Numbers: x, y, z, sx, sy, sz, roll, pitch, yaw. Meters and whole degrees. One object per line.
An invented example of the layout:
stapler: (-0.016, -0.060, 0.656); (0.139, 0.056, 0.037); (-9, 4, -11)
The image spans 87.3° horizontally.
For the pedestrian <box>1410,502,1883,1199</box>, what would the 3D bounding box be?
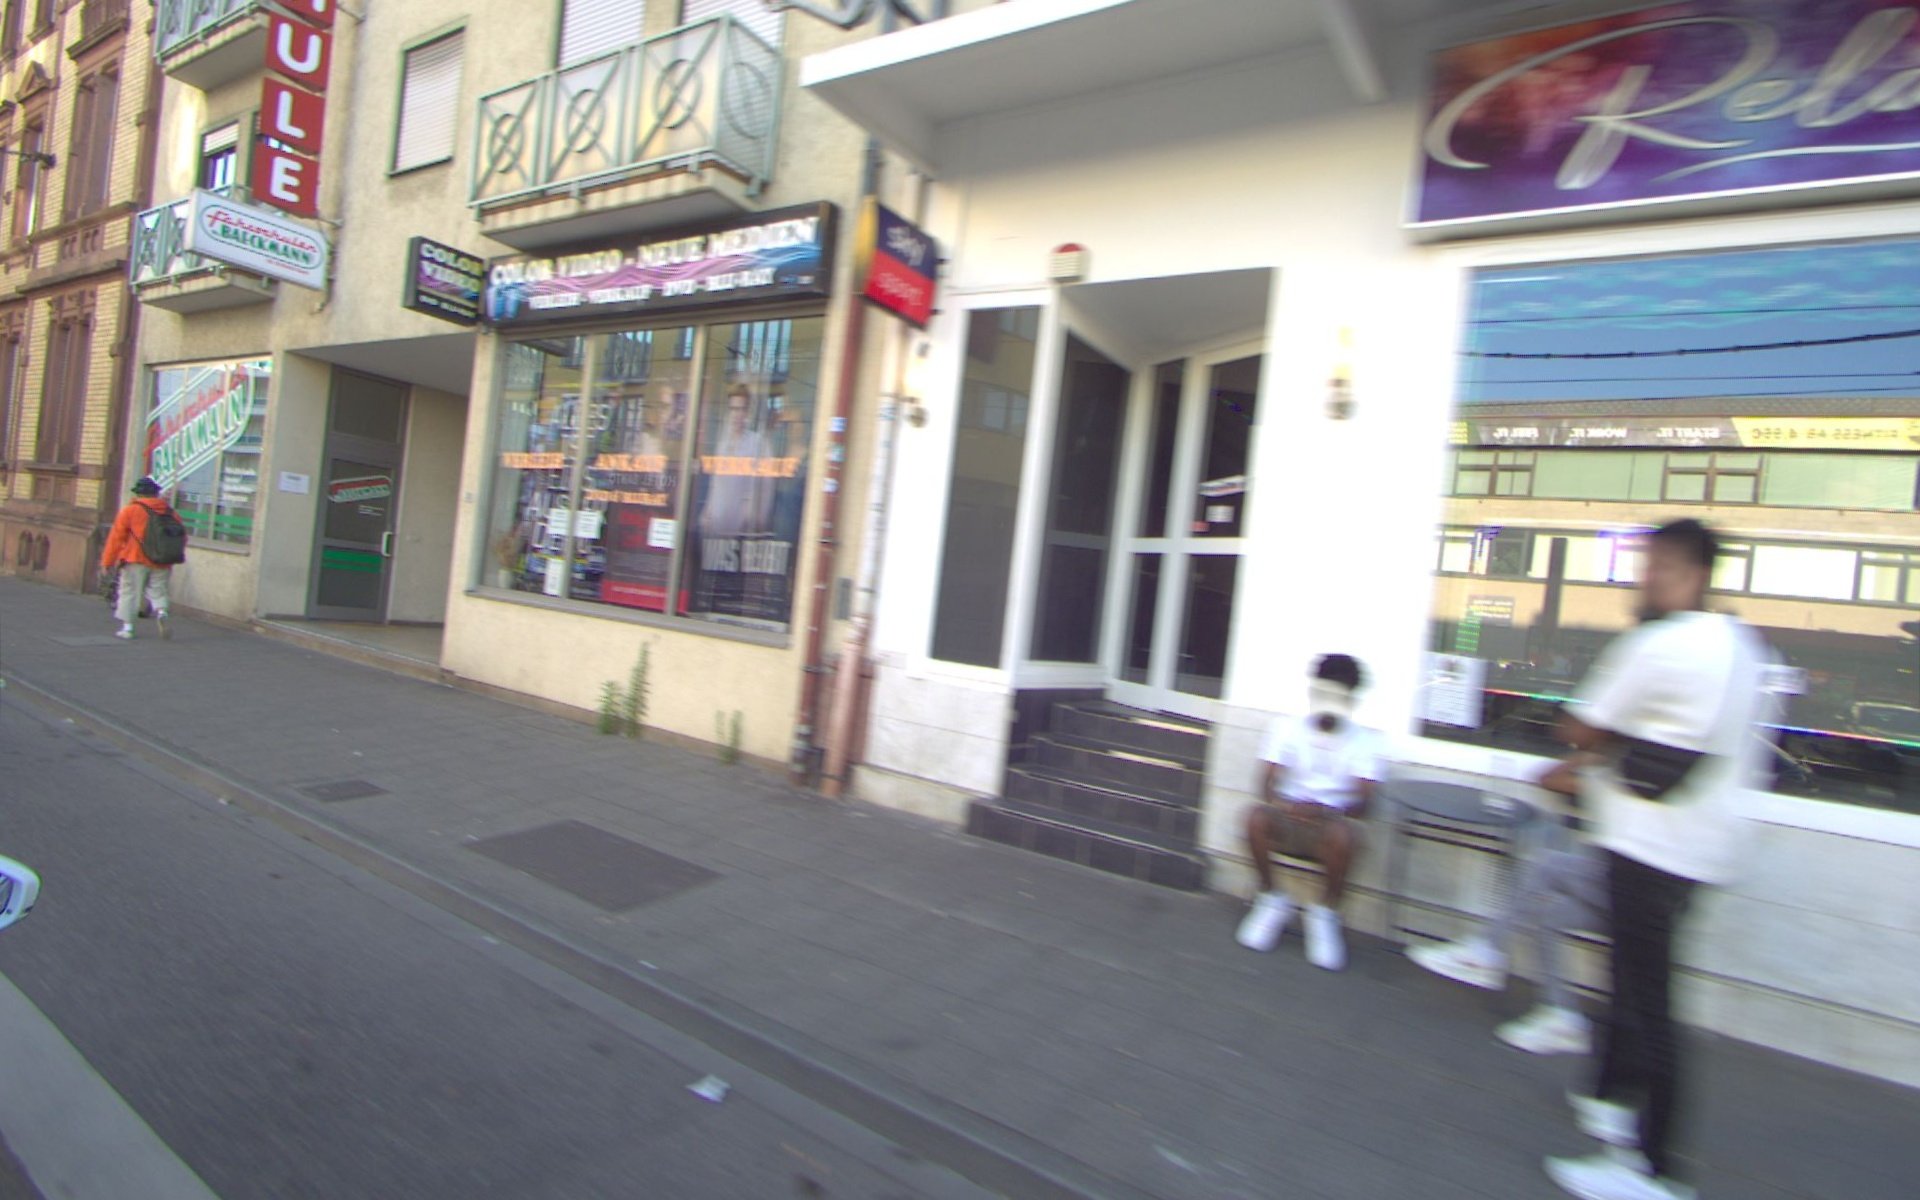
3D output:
pedestrian: (1.838, 0.691, 2.747); (0.700, 1.840, 0.671); (-3, 10, -40)

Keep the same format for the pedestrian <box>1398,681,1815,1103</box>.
pedestrian: (2.293, 1.005, 3.745); (0.997, 1.193, 0.705); (6, 8, 15)

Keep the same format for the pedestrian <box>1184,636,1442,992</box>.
pedestrian: (1.465, 0.869, 4.355); (0.694, 1.275, 0.828); (4, 8, 0)

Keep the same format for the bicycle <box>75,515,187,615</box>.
bicycle: (-10.932, -0.484, 13.236); (2.274, 1.076, 0.554); (8, 5, 35)

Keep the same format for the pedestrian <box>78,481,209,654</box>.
pedestrian: (-8.412, -0.363, 10.382); (0.812, 1.653, 0.795); (9, 9, 34)
